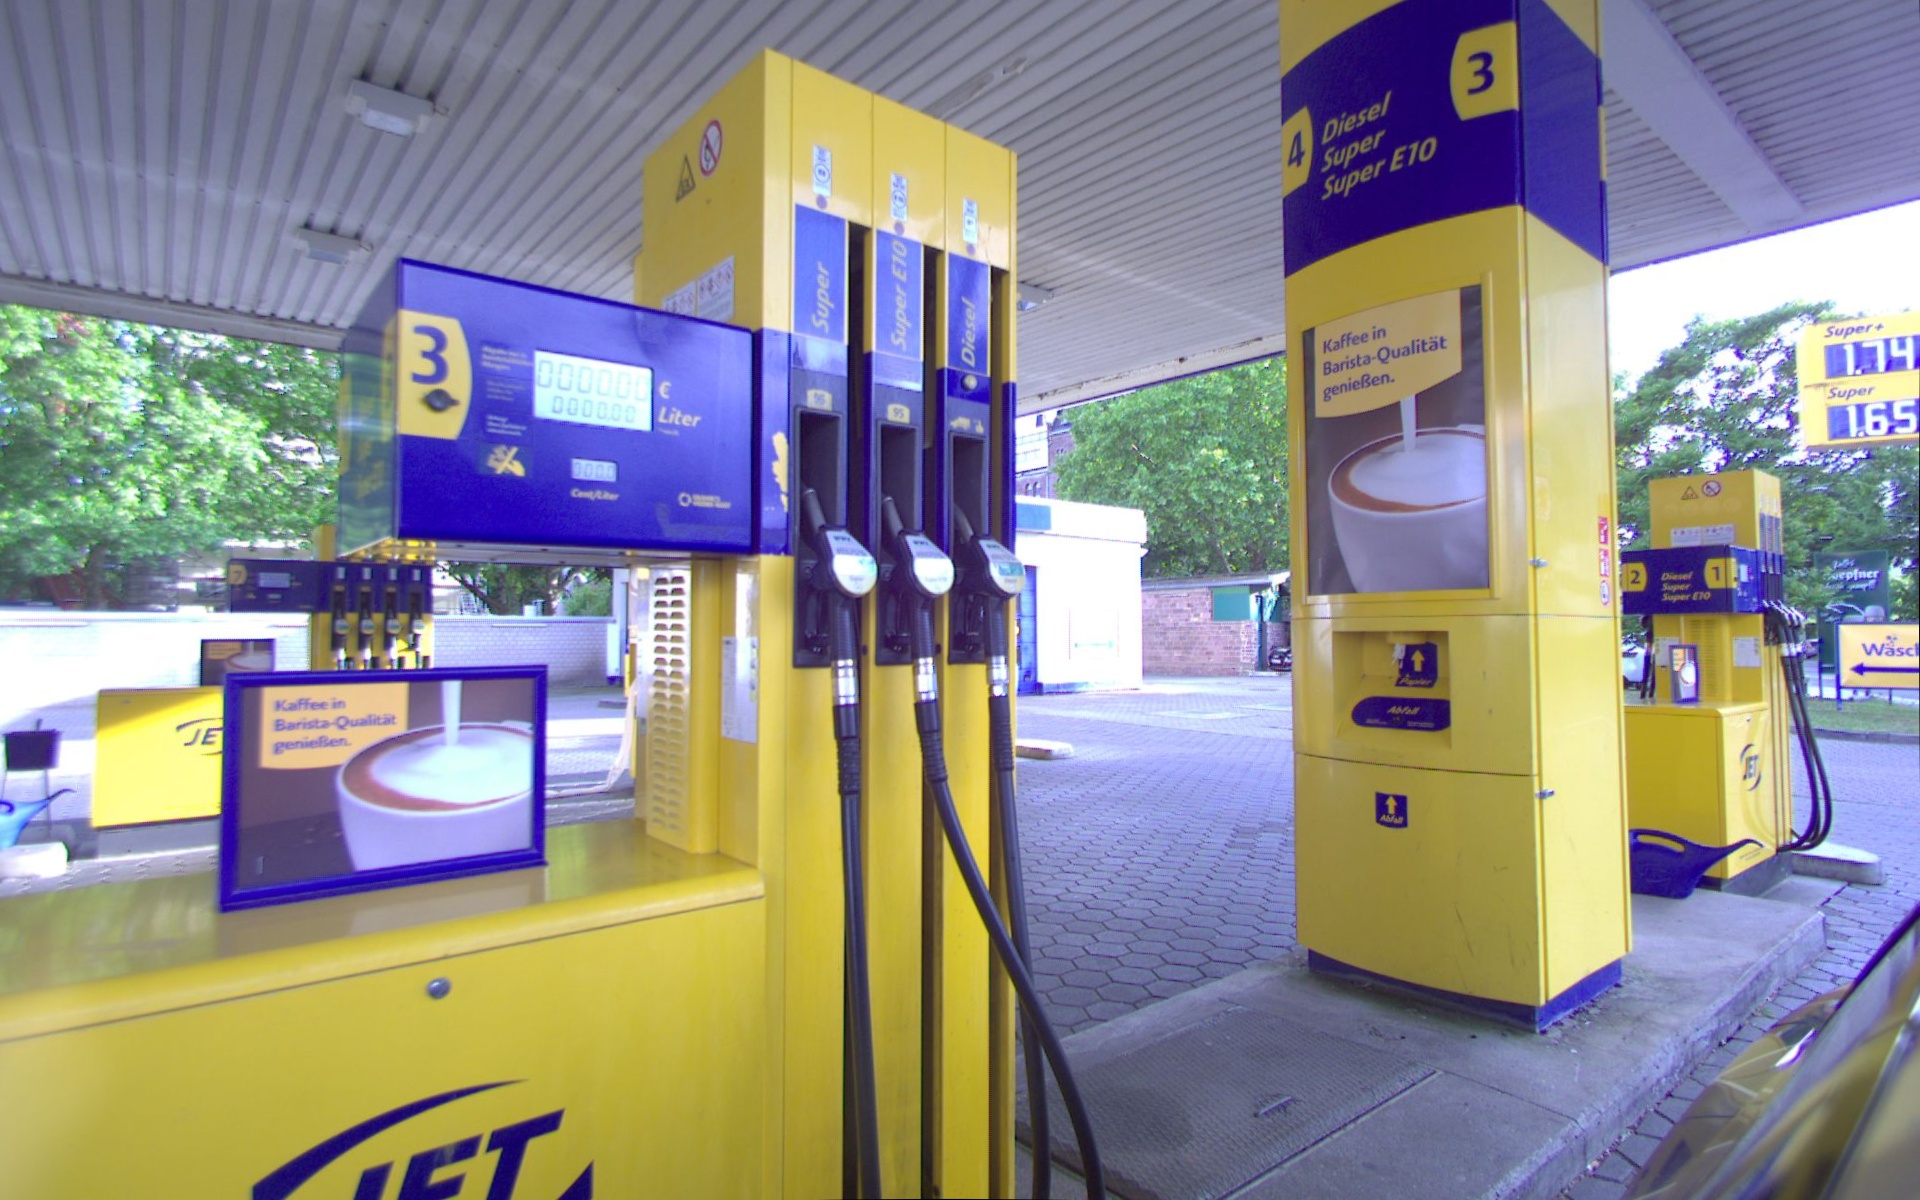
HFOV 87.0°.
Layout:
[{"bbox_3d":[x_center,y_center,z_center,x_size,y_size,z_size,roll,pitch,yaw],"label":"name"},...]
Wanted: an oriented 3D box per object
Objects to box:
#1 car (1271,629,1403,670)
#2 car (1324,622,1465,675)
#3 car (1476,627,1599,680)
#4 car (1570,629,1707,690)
[{"bbox_3d":[12.842,1.701,34.507,4.134,1.294,1.751,2,-3,-22],"label":"car"},{"bbox_3d":[13.801,1.549,32.158,4.134,1.544,1.791,2,-3,-24],"label":"car"},{"bbox_3d":[17.568,1.643,30.758,3.923,1.529,1.740,3,-3,-35],"label":"car"},{"bbox_3d":[18.233,1.564,27.171,3.923,1.529,1.740,2,-3,-35],"label":"car"}]
